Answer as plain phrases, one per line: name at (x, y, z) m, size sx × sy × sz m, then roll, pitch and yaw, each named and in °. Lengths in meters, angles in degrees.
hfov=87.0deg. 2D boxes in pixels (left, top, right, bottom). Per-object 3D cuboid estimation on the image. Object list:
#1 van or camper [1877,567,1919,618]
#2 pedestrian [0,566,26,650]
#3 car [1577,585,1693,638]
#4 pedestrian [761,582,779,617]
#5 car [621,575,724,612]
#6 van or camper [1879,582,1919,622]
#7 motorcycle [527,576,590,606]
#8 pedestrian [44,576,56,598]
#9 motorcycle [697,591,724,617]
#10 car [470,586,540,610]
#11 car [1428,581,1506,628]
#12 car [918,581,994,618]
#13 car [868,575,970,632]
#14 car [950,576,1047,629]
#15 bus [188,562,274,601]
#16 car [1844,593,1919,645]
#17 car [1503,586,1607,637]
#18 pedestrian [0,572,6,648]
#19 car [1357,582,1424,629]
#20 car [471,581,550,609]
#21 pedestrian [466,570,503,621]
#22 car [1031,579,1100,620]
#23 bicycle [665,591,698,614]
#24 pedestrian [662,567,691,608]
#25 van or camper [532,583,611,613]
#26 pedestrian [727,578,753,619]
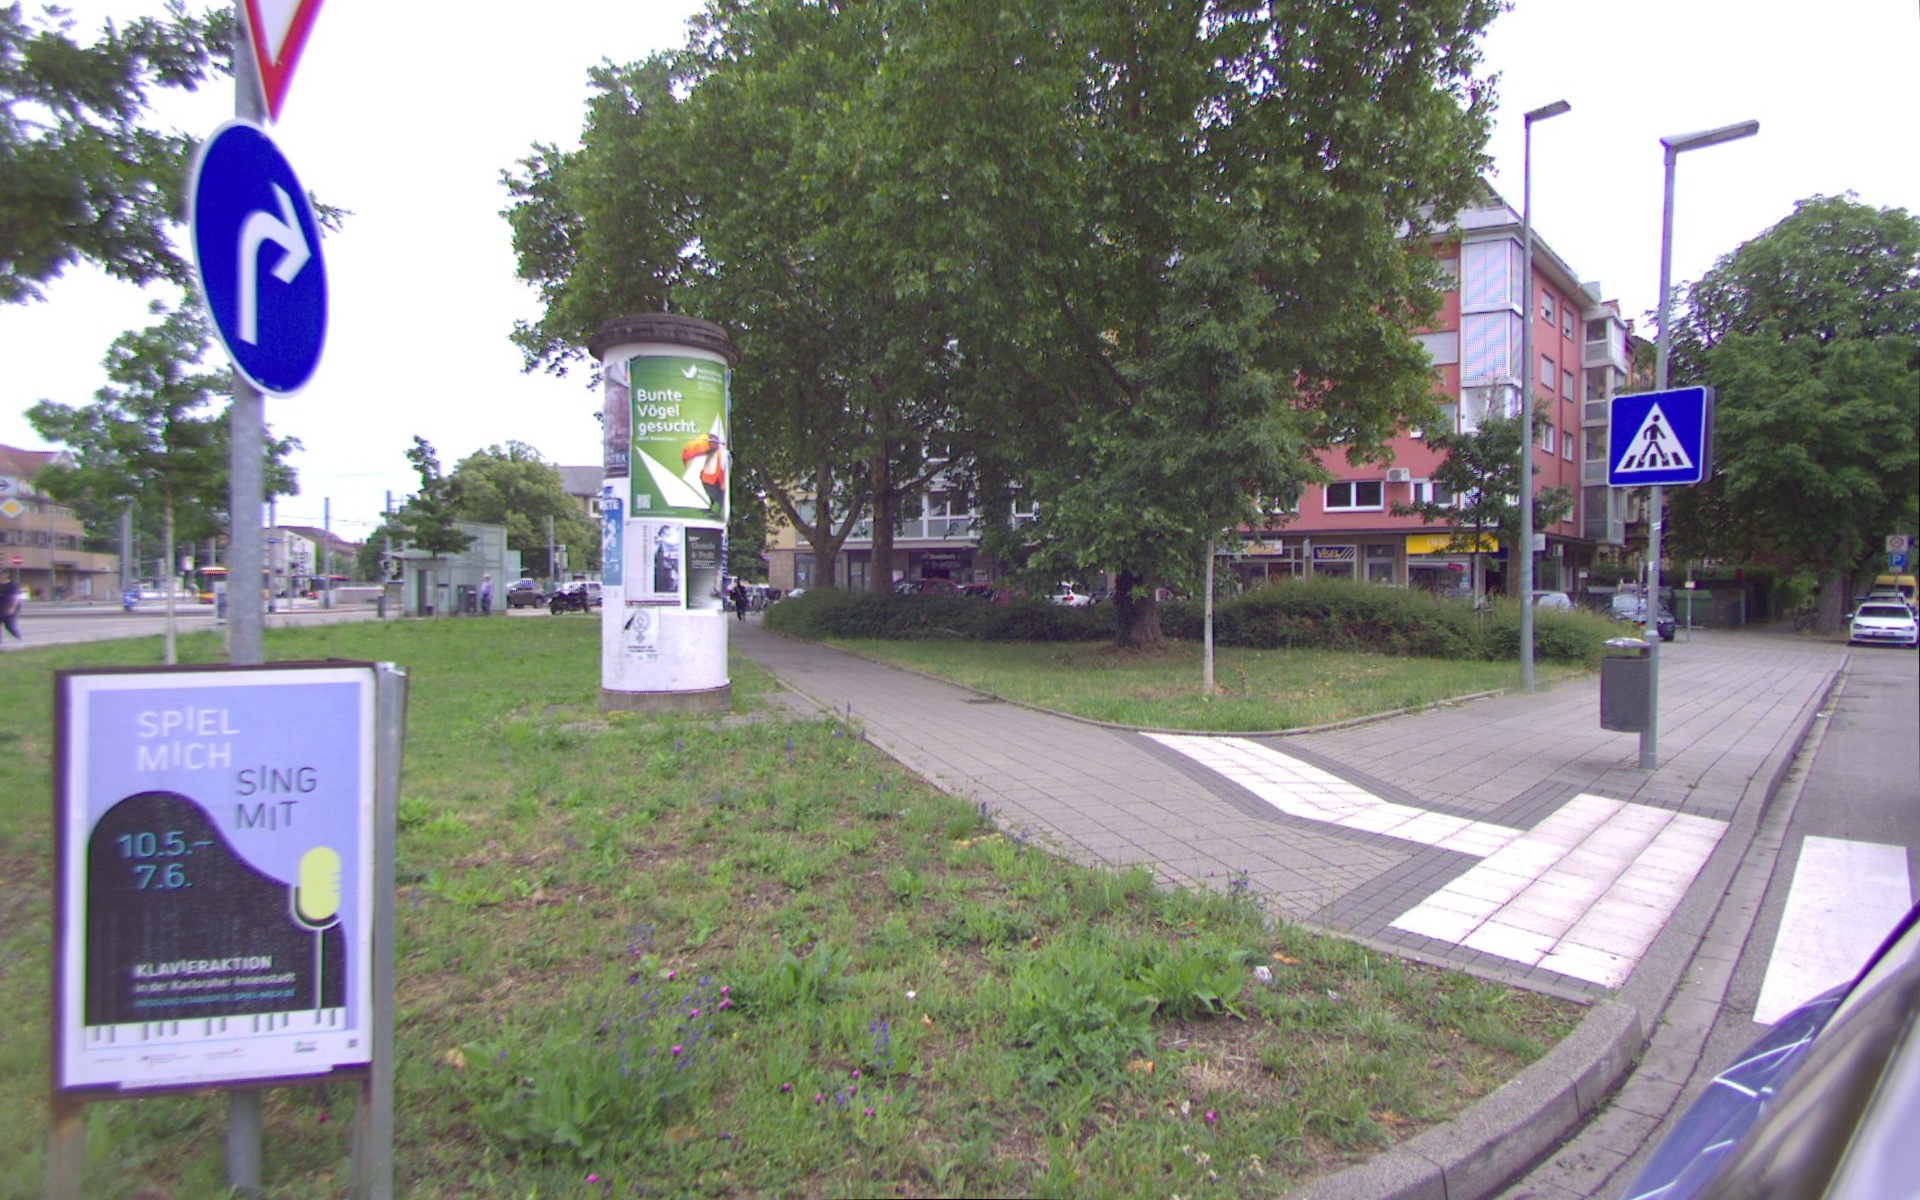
van or camper at (53.005, -0.422, 56.977) m, size 1.993 × 2.807 × 3.938 m, roll 0°, pitch 0°, yaw 43°
pedestrian at (-21.639, 0.173, 22.886) m, size 0.526 × 1.867 × 0.988 m, roll 0°, pitch 0°, yaw -29°
car at (22.385, 0.318, 33.777) m, size 1.834 × 1.567 × 4.456 m, roll 0°, pitch 2°, yaw 15°
pedestrian at (-9.144, -0.010, 48.734) m, size 0.698 × 1.659 × 0.727 m, roll 0°, pitch 0°, yaw -27°
car at (-16.681, -0.397, 58.835) m, size 5.617 × 2.039 × 2.032 m, roll -1°, pitch 0°, yaw -16°
van or camper at (49.899, 0.094, 53.454) m, size 1.993 × 2.039 × 3.938 m, roll 0°, pitch 1°, yaw 43°
motorcycle at (-16.205, -0.354, 40.931) m, size 0.762 × 1.183 × 2.356 m, roll 0°, pitch 0°, yaw 35°
pedestrian at (-79.670, -1.157, 88.605) m, size 0.611 × 1.942 × 0.711 m, roll 0°, pitch 0°, yaw -31°
motorcycle at (-9.924, 0.169, 40.276) m, size 0.856 × 1.010 × 1.017 m, roll 0°, pitch 0°, yaw -24°
car at (-29.155, -0.110, 64.997) m, size 1.756 × 1.482 × 3.966 m, roll -1°, pitch 0°, yaw 25°
car at (17.830, 0.125, 35.749) m, size 1.837 × 1.567 × 4.449 m, roll 0°, pitch 1°, yaw 19°
car at (-0.109, -0.039, 43.316) m, size 1.838 × 1.508 × 4.447 m, roll 0°, pitch 1°, yaw 20°
car at (-1.261, 0.086, 33.256) m, size 1.838 × 1.744 × 4.447 m, roll 0°, pitch 1°, yaw 20°
car at (1.314, 0.042, 32.309) m, size 1.838 × 1.567 × 4.447 m, roll 0°, pitch 1°, yaw 20°
bus at (-63.026, -1.540, 87.799) m, size 2.908 × 3.162 × 11.563 m, roll 0°, pitch 1°, yaw -20°
car at (30.845, 0.575, 33.847) m, size 1.854 × 1.567 × 4.408 m, roll 3°, pitch 2°, yaw 42°
car at (20.435, 0.349, 34.956) m, size 1.833 × 1.567 × 4.459 m, roll 0°, pitch 2°, yaw 13°
pedestrian at (-24.748, 0.256, 25.280) m, size 0.724 × 1.931 × 1.100 m, roll 0°, pitch -1°, yaw 13°
car at (15.471, 0.168, 36.557) m, size 1.837 × 1.567 × 4.449 m, roll 0°, pitch 1°, yaw 19°
car at (-26.855, -0.318, 60.604) m, size 1.836 × 1.567 × 4.450 m, roll -1°, pitch 0°, yaw 17°
pedestrian at (-18.347, -0.176, 39.057) m, size 0.874 × 1.955 × 1.015 m, roll 0°, pitch 0°, yaw 8°
car at (4.416, -0.047, 41.815) m, size 1.838 × 1.567 × 4.447 m, roll 0°, pitch 1°, yaw 20°
bicycle at (-11.630, 0.104, 42.265) m, size 1.252 × 0.929 × 0.589 m, roll 0°, pitch 0°, yaw 26°
pedestrian at (-12.663, -0.563, 45.214) m, size 0.928 × 1.820 × 1.088 m, roll -1°, pitch -1°, yaw -33°
van or camper at (-27.088, -0.139, 70.798) m, size 2.171 × 2.039 × 5.113 m, roll -1°, pitch 0°, yaw 25°
pedestrian at (-8.819, -0.067, 40.599) m, size 0.630 × 1.659 × 0.865 m, roll 0°, pitch 0°, yaw 23°
